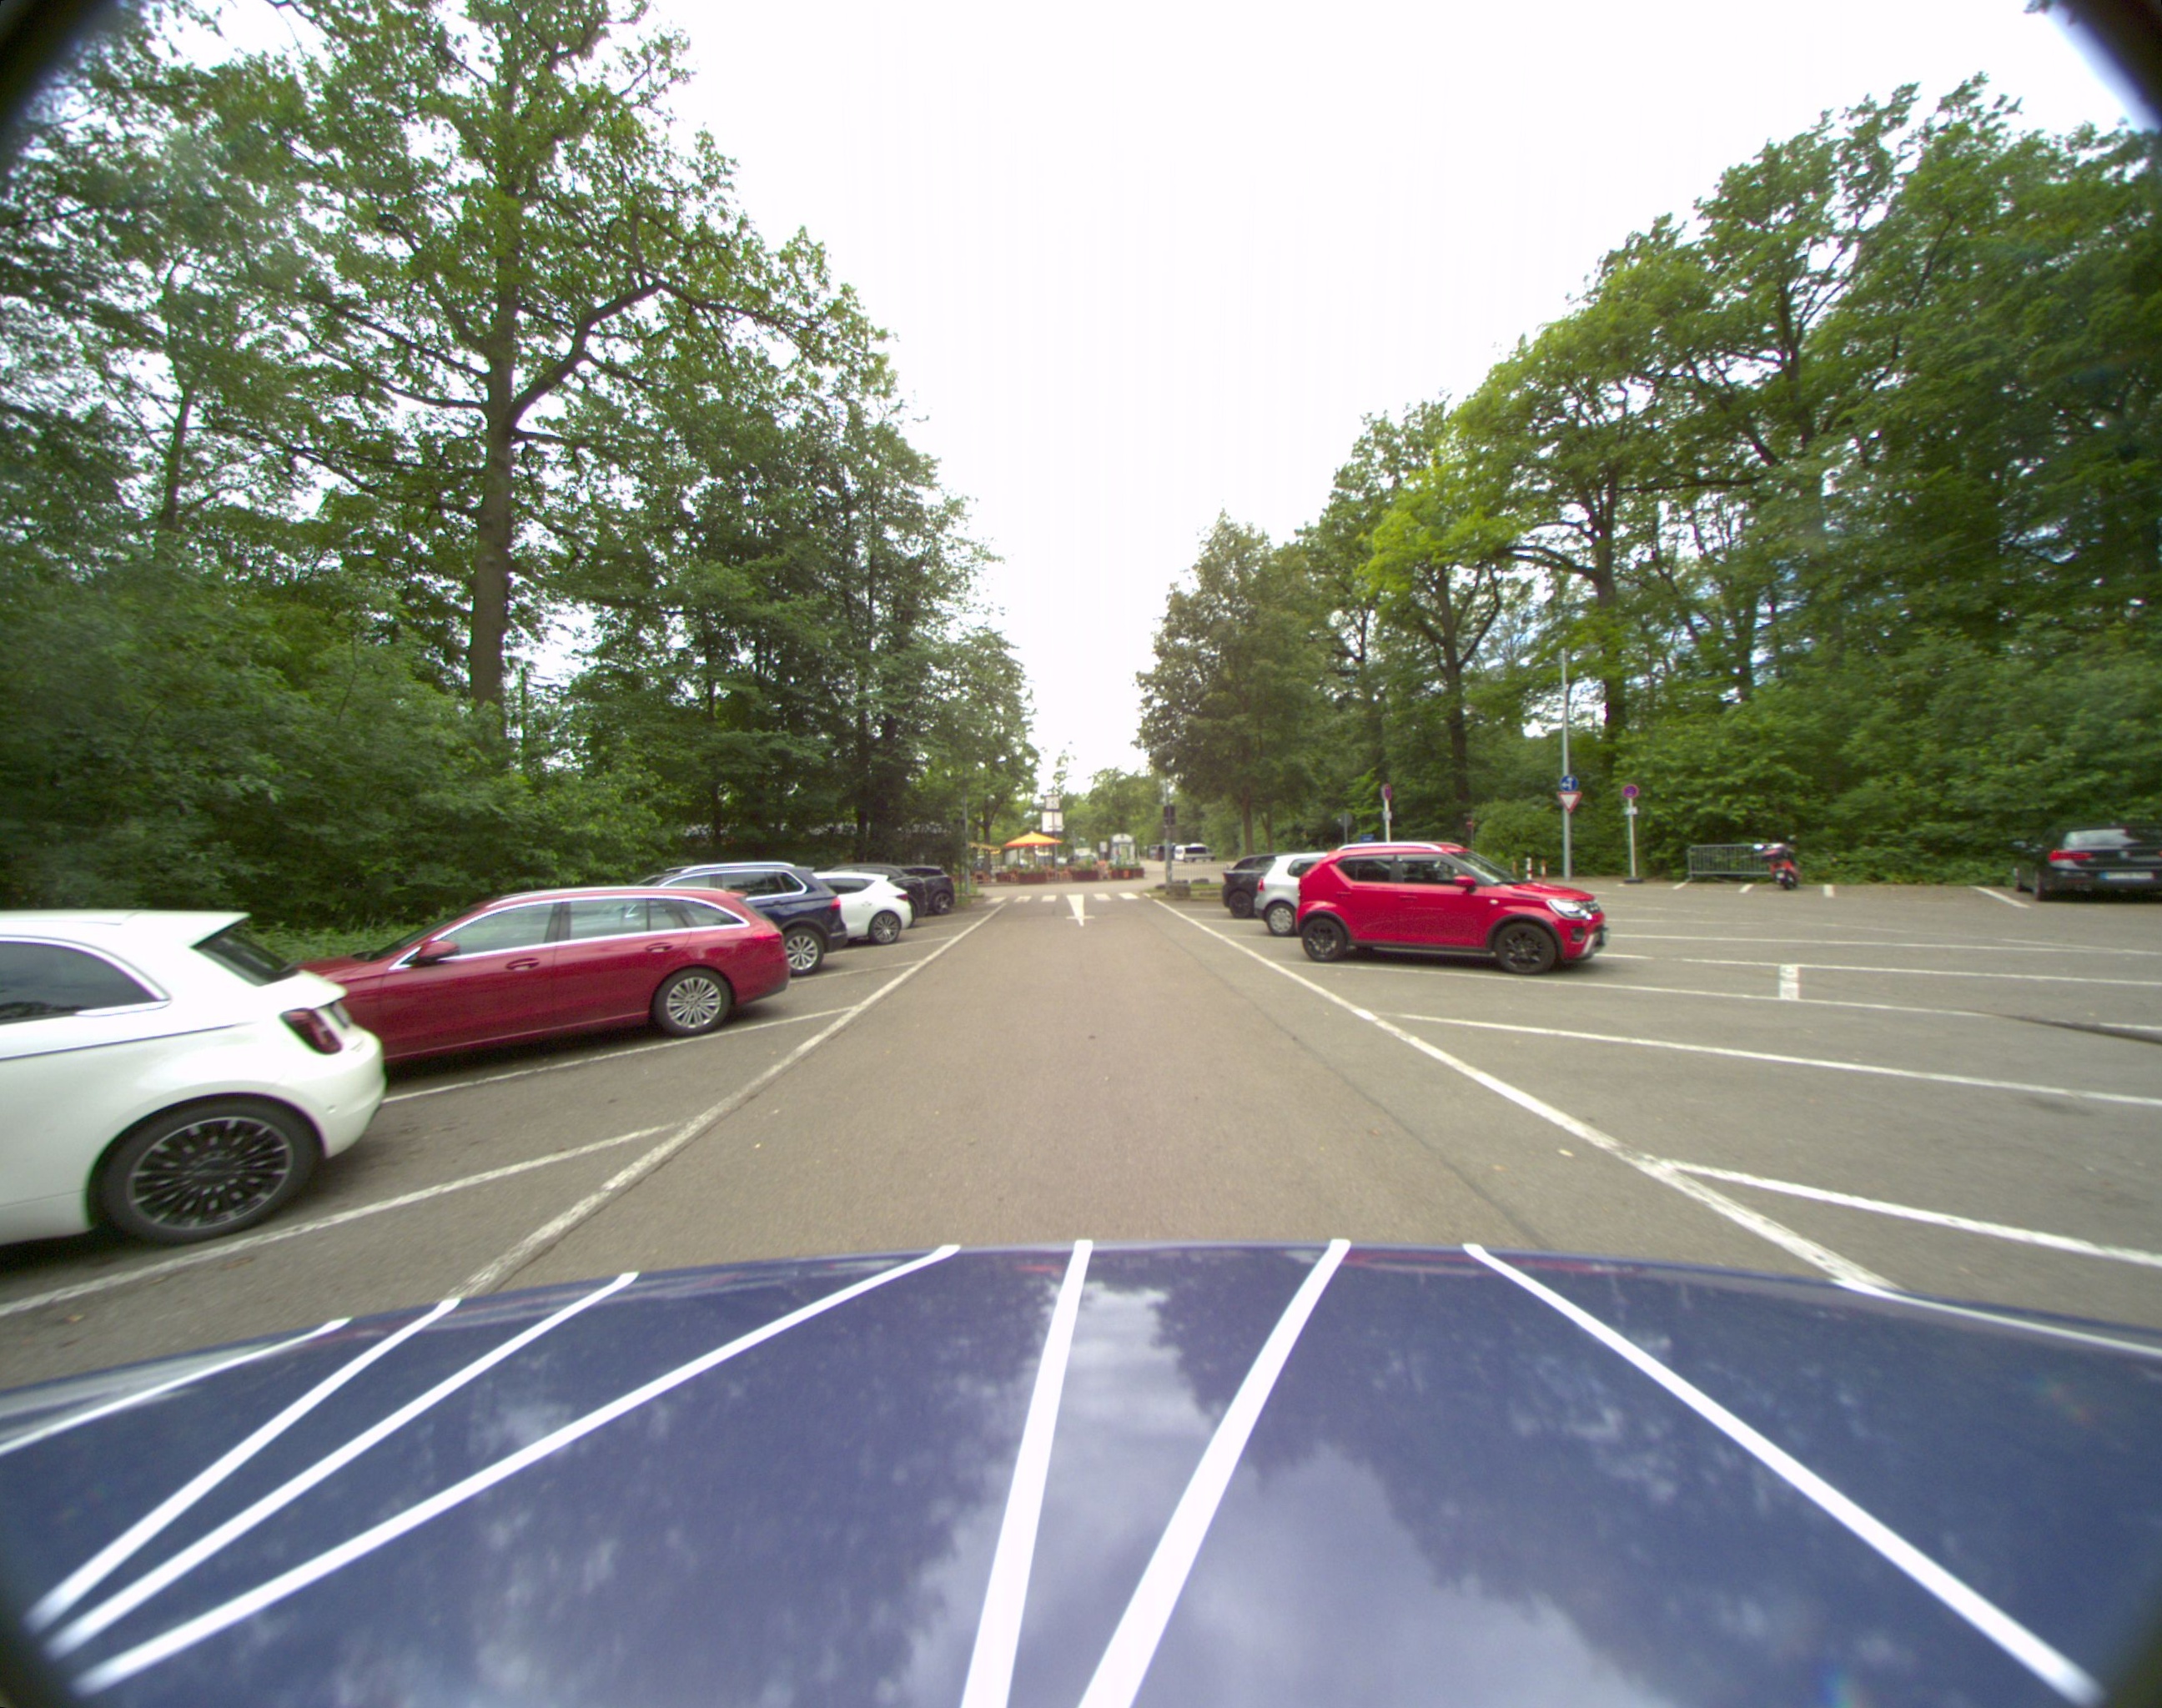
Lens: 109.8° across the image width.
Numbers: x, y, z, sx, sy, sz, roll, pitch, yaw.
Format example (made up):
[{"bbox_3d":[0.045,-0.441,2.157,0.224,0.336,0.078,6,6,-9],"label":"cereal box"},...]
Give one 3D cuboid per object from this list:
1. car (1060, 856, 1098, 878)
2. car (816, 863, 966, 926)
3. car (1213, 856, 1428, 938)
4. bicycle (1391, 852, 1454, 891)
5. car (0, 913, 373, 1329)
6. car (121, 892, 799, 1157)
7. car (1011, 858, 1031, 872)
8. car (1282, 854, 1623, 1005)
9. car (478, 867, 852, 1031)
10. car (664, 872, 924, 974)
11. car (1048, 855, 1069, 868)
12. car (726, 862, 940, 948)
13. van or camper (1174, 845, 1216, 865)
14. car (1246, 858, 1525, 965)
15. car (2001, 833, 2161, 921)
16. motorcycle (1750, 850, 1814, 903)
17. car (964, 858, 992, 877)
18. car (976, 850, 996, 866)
[{"bbox_3d":[-0.228,1.042,61.885,1.937,1.660,4.339,-2,0,-16],"label":"car"},{"bbox_3d":[-5.389,1.108,21.890,1.695,1.483,3.799,-2,0,44],"label":"car"},{"bbox_3d":[5.140,0.883,16.693,1.834,1.514,4.089,-3,1,-43],"label":"car"},{"bbox_3d":[10.524,0.543,23.447,1.683,1.105,0.506,-3,1,6],"label":"bicycle"},{"bbox_3d":[-5.374,1.156,3.097,3.589,1.496,1.730,-2,0,-43],"label":"car"},{"bbox_3d":[-5.157,1.205,7.040,4.304,1.405,1.923,-3,0,-41],"label":"car"},{"bbox_3d":[-8.347,1.533,105.847,1.879,1.769,4.289,-2,0,-17],"label":"car"},{"bbox_3d":[4.750,0.870,9.979,3.644,1.576,1.690,-2,0,42],"label":"car"},{"bbox_3d":[-5.531,1.097,10.421,4.127,1.608,1.837,-3,0,-42],"label":"car"},{"bbox_3d":[-5.285,1.169,14.320,4.127,1.430,1.865,-3,0,-42],"label":"car"},{"bbox_3d":[-3.219,1.056,107.558,1.879,1.769,4.289,-2,0,-17],"label":"car"},{"bbox_3d":[-5.610,1.089,17.575,1.952,1.571,4.211,-2,0,43],"label":"car"},{"bbox_3d":[18.131,0.212,120.242,7.353,2.833,2.063,-3,1,-40],"label":"van or camper"},{"bbox_3d":[5.110,0.897,13.038,3.989,1.475,1.880,-2,1,42],"label":"car"},{"bbox_3d":[18.825,0.359,14.182,4.007,1.368,1.735,-3,1,-45],"label":"car"},{"bbox_3d":[17.568,0.541,19.028,2.033,1.201,0.729,-3,1,-35],"label":"motorcycle"},{"bbox_3d":[-9.115,1.156,67.072,2.001,1.543,3.995,-2,0,-14],"label":"car"},{"bbox_3d":[-13.158,0.544,104.670,1.879,2.027,4.584,-2,0,-17],"label":"car"}]
